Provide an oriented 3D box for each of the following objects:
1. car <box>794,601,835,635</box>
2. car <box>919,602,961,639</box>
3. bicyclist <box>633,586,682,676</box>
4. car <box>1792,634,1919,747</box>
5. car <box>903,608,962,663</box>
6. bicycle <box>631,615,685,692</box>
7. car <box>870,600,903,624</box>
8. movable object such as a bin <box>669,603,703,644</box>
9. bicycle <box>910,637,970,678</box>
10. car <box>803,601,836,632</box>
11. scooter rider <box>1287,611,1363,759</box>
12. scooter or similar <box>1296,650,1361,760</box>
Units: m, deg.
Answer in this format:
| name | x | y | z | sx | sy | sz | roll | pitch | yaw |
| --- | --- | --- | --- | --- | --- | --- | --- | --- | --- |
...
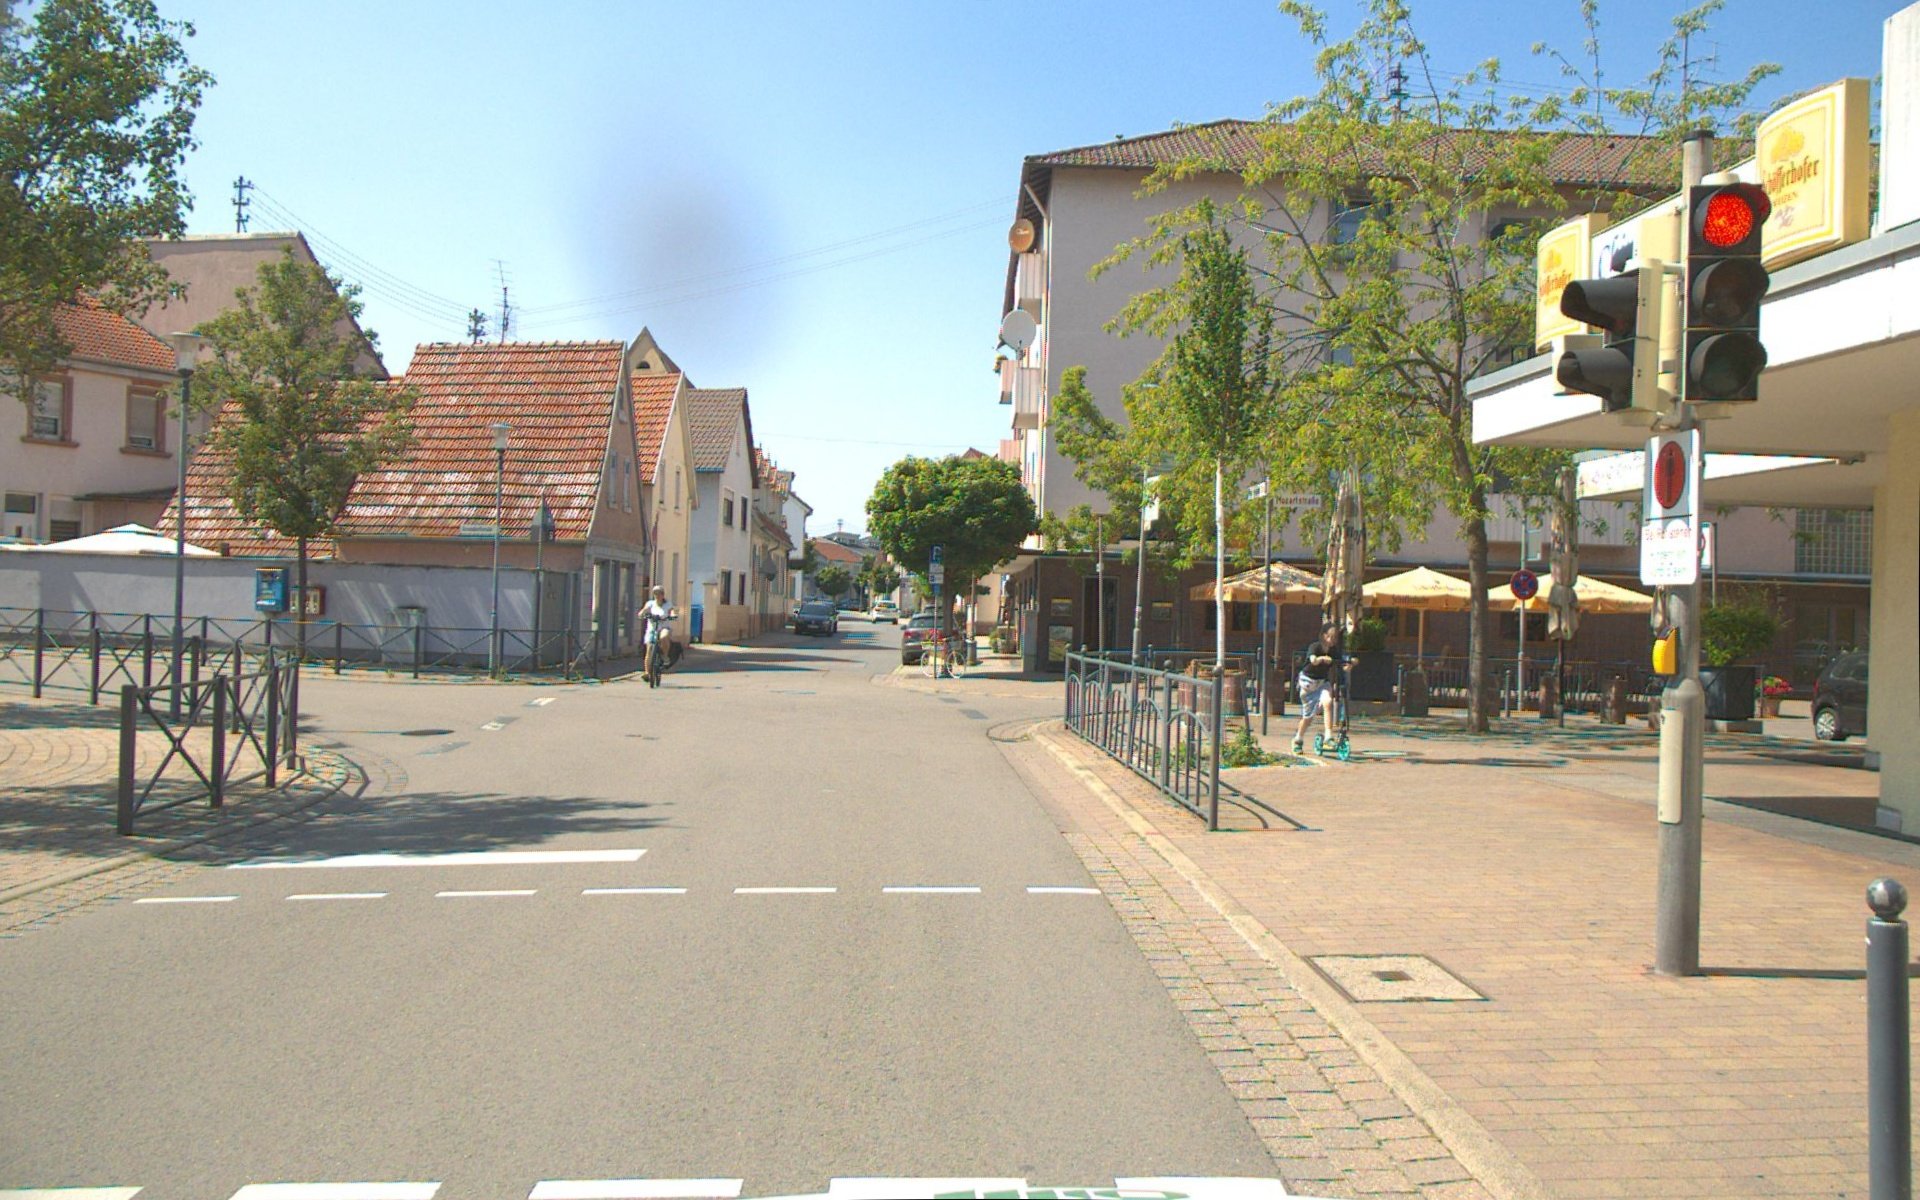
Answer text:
| name | x | y | z | sx | sy | sz | roll | pitch | yaw |
| --- | --- | --- | --- | --- | --- | --- | --- | --- | --- |
| car | -6.849 | 0.834 | 78.068 | 1.629 | 1.502 | 4.133 | 1 | 0 | -1 |
| car | -0.984 | 0.989 | 81.022 | 2.001 | 1.718 | 4.840 | 1 | 0 | -1 |
| bicyclist | -5.241 | 0.530 | 28.691 | 0.700 | 1.533 | 0.870 | 1 | 0 | -4 |
| car | 14.055 | 1.308 | 23.889 | 1.733 | 1.536 | 3.965 | 2 | -1 | -7 |
| car | -0.749 | 0.986 | 47.159 | 1.543 | 1.479 | 3.486 | 1 | -1 | 1 |
| bicycle | -5.249 | 0.902 | 28.814 | 0.694 | 1.274 | 1.970 | 1 | 0 | -4 |
| car | -5.211 | 0.860 | 116.920 | 1.988 | 1.626 | 4.502 | 1 | 0 | -6 |
| movable object such as a bin | -9.370 | 0.803 | 56.610 | 1.078 | 1.389 | 0.390 | 1 | -1 | 3 |
| bicycle | -0.468 | 1.327 | 38.543 | 1.386 | 0.913 | 0.463 | 0 | 0 | 36 |
| car | -7.170 | 0.823 | 84.618 | 1.630 | 1.502 | 3.447 | 1 | 0 | -5 |
| scooter rider | 3.459 | 0.783 | 15.715 | 0.452 | 1.348 | 1.133 | 1 | 0 | 0 |
| scooter or similar | 3.473 | 0.977 | 15.638 | 0.402 | 0.982 | 0.960 | 1 | 0 | 1 |
